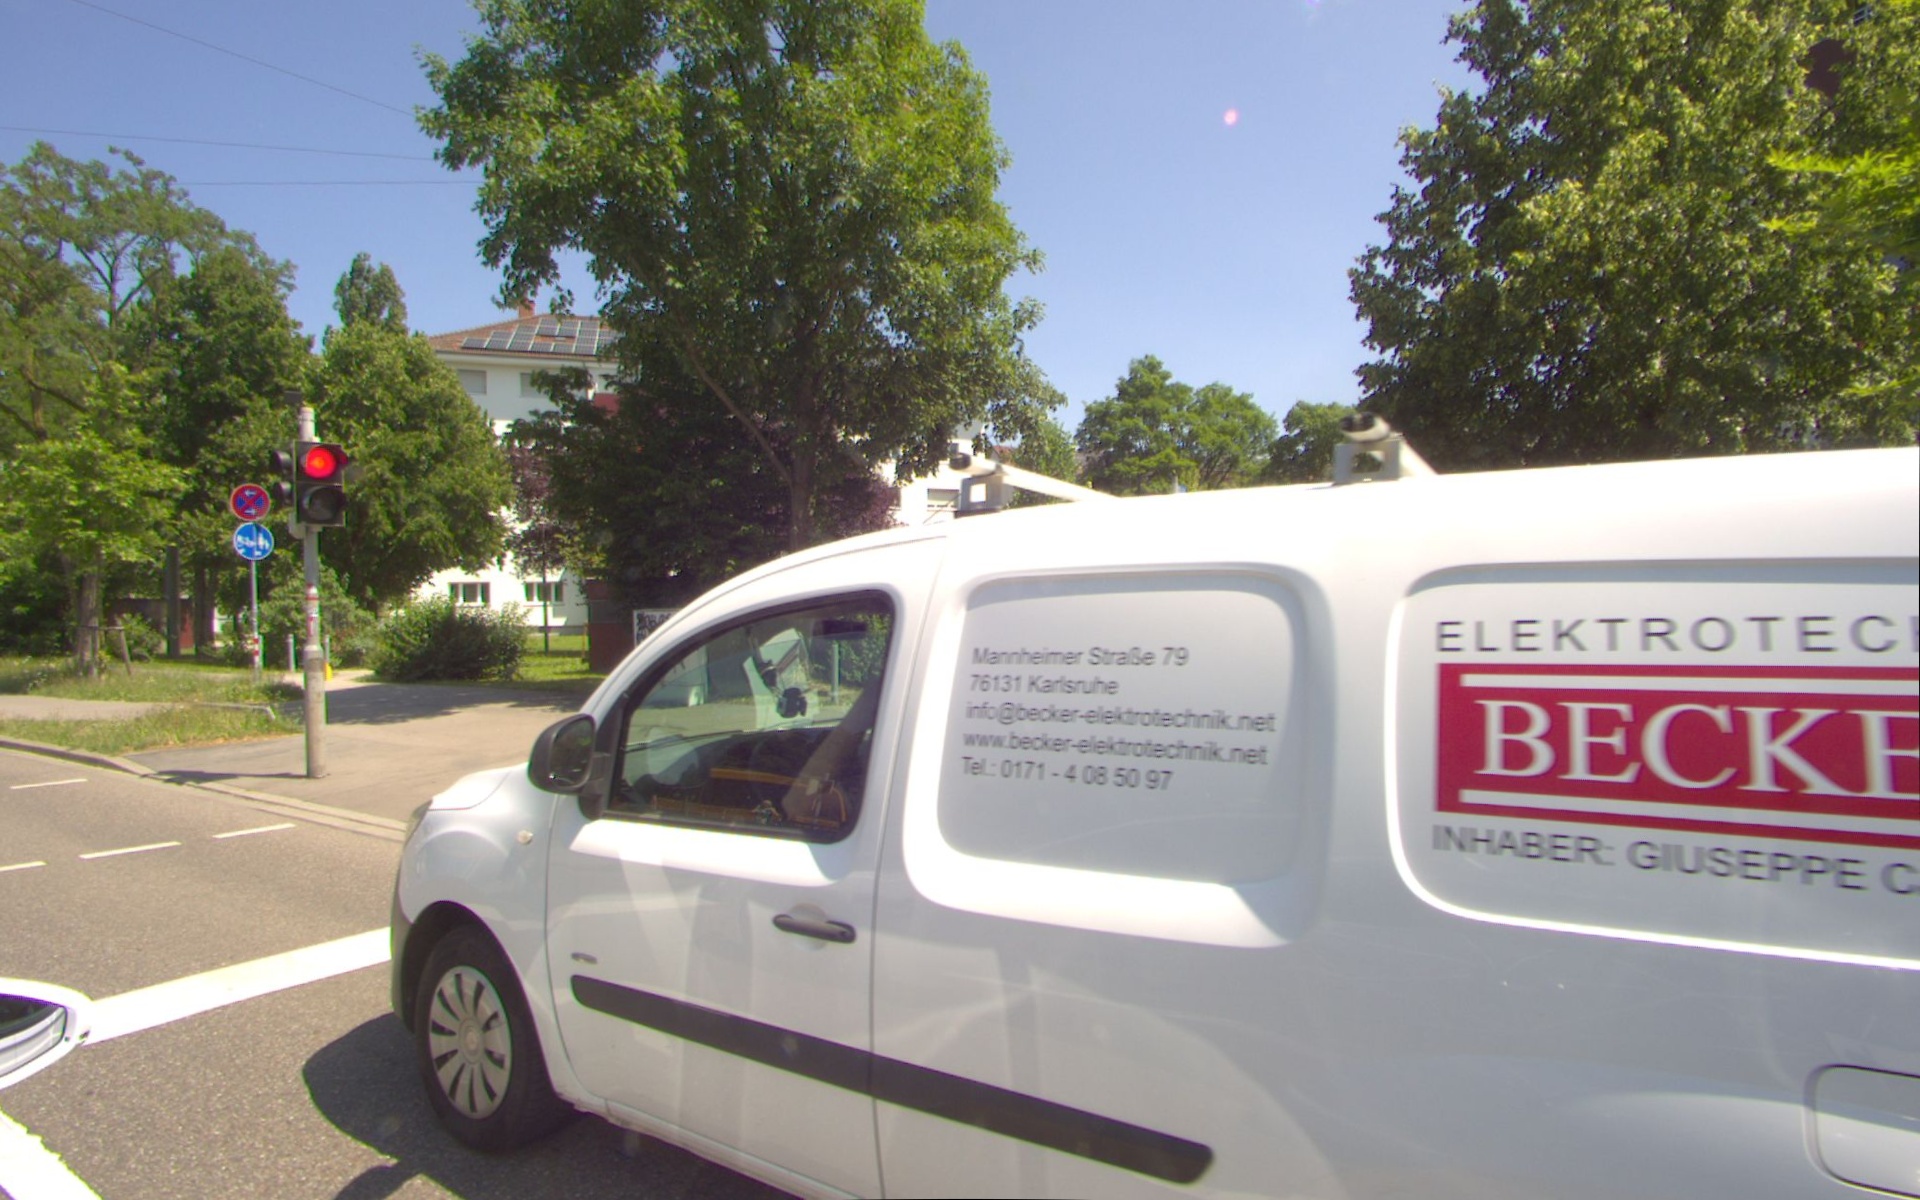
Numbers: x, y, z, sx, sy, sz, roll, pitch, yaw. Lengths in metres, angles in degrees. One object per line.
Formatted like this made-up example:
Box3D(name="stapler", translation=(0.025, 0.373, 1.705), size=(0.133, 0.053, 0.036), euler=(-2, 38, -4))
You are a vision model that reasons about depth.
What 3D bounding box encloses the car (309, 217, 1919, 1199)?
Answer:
Box3D(name="car", translation=(0.236, 0.555, 2.785), size=(4.393, 1.906, 1.820), euler=(-1, -1, 33))
